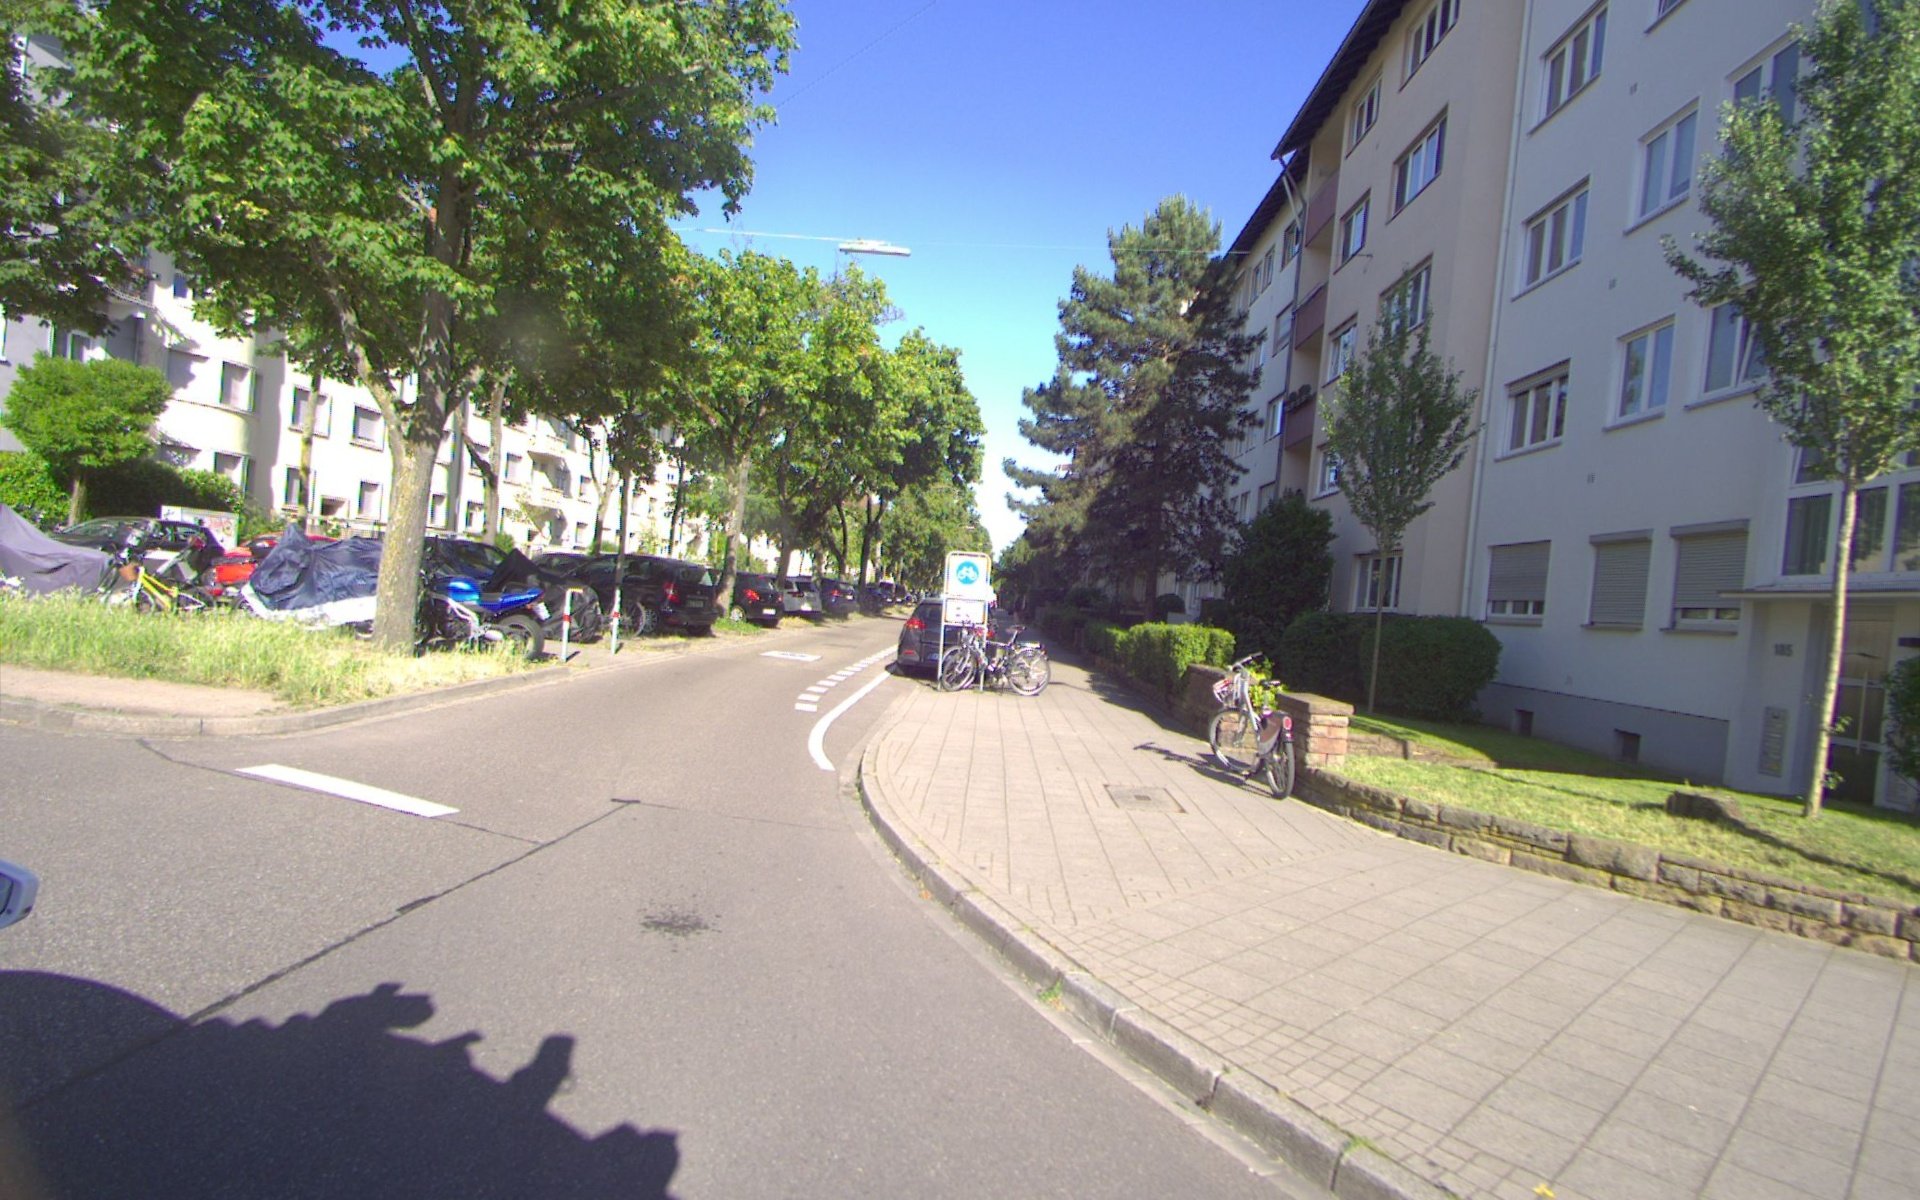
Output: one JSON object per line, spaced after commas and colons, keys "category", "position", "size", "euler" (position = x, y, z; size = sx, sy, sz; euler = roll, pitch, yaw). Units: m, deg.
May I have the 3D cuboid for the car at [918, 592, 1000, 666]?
{"category": "car", "position": [-0.056, 0.643, 25.186], "size": [1.752, 1.504, 3.997], "euler": [6, 1, -1]}

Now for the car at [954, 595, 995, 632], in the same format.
{"category": "car", "position": [0.662, 0.622, 48.787], "size": [1.752, 1.504, 3.997], "euler": [6, 1, -1]}

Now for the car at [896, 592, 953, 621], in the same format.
{"category": "car", "position": [-2.647, 0.491, 74.437], "size": [3.945, 1.746, 1.876], "euler": [6, 1, 42]}

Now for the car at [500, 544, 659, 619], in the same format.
{"category": "car", "position": [-10.244, -0.499, 27.050], "size": [3.930, 1.611, 1.704], "euler": [6, 1, 27]}

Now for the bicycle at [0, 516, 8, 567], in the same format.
{"category": "bicycle", "position": [-20.812, -1.279, 20.418], "size": [0.670, 1.073, 2.256], "euler": [5, 1, 4]}

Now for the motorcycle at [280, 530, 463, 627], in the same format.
{"category": "motorcycle", "position": [-9.290, -0.333, 15.954], "size": [2.200, 1.284, 1.051], "euler": [5, 1, 1]}

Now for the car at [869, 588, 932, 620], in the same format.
{"category": "car", "position": [-4.029, 0.264, 67.628], "size": [3.945, 1.746, 1.876], "euler": [6, 1, 42]}

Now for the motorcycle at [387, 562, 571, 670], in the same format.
{"category": "motorcycle", "position": [-5.956, 0.189, 12.531], "size": [1.811, 1.086, 0.814], "euler": [7, 1, 1]}

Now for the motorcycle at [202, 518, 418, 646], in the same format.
{"category": "motorcycle", "position": [-8.040, -0.221, 12.515], "size": [2.016, 1.345, 0.862], "euler": [5, 1, -2]}

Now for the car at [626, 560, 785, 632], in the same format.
{"category": "car", "position": [-7.170, -0.109, 28.307], "size": [3.929, 1.618, 1.877], "euler": [6, 0, 25]}

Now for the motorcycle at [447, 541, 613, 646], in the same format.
{"category": "motorcycle", "position": [-6.806, -0.102, 16.016], "size": [2.087, 1.410, 1.062], "euler": [5, 1, 0]}

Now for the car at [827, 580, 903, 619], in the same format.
{"category": "car", "position": [-5.266, -0.021, 55.271], "size": [3.945, 1.746, 1.876], "euler": [6, 1, 42]}

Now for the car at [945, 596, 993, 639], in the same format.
{"category": "car", "position": [0.316, 0.683, 41.638], "size": [1.752, 1.504, 3.997], "euler": [6, 1, -1]}

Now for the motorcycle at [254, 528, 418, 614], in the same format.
{"category": "motorcycle", "position": [-11.144, -0.505, 18.036], "size": [2.200, 1.284, 1.051], "euler": [5, 1, 1]}

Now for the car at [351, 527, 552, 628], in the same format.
{"category": "car", "position": [-10.415, -0.468, 20.571], "size": [3.811, 1.661, 1.799], "euler": [6, 1, 30]}

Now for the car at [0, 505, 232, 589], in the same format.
{"category": "car", "position": [-17.419, -1.019, 20.882], "size": [1.720, 1.464, 3.954], "euler": [4, 1, -1]}

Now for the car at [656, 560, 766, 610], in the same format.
{"category": "car", "position": [-10.055, -0.616, 40.593], "size": [3.930, 1.611, 1.883], "euler": [6, 1, 27]}

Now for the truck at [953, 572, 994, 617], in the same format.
{"category": "truck", "position": [0.865, -0.367, 69.180], "size": [2.367, 2.710, 5.903], "euler": [6, 1, -1]}

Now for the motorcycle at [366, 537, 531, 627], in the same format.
{"category": "motorcycle", "position": [-8.670, -0.294, 17.128], "size": [2.200, 1.284, 1.051], "euler": [5, 1, 1]}

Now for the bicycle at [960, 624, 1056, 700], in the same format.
{"category": "bicycle", "position": [0.734, 0.961, 15.657], "size": [1.422, 1.071, 0.330], "euler": [3, 2, 0]}

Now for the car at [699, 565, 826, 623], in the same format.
{"category": "car", "position": [-6.840, -0.207, 34.893], "size": [3.928, 1.569, 1.779], "euler": [6, 1, 24]}

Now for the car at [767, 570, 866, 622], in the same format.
{"category": "car", "position": [-5.960, -0.169, 41.571], "size": [3.945, 1.746, 1.876], "euler": [6, 1, 42]}

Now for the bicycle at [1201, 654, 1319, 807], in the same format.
{"category": "bicycle", "position": [2.557, 1.074, 8.728], "size": [0.377, 1.093, 1.623], "euler": [3, 1, -4]}

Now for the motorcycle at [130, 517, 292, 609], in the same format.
{"category": "motorcycle", "position": [-11.892, -0.575, 16.014], "size": [1.858, 1.253, 0.889], "euler": [5, 1, 1]}

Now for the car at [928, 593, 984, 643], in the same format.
{"category": "car", "position": [-0.160, 0.606, 36.266], "size": [1.752, 1.504, 3.997], "euler": [6, 1, -1]}

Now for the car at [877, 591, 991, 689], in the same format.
{"category": "car", "position": [-0.588, 0.671, 18.995], "size": [1.800, 1.429, 3.995], "euler": [6, 1, -4]}

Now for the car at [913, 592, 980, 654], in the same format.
{"category": "car", "position": [-0.418, 0.646, 30.996], "size": [1.753, 1.524, 3.997], "euler": [9, 1, -1]}

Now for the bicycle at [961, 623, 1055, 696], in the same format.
{"category": "bicycle", "position": [0.763, 0.950, 16.130], "size": [1.422, 1.071, 0.330], "euler": [3, 2, 0]}

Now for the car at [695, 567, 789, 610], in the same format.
{"category": "car", "position": [-10.314, -0.550, 47.532], "size": [3.930, 1.611, 1.883], "euler": [6, 1, 27]}

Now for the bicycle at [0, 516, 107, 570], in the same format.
{"category": "bicycle", "position": [-20.803, -1.282, 22.895], "size": [0.670, 1.073, 2.256], "euler": [5, 1, 4]}

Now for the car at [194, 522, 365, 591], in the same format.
{"category": "car", "position": [-17.376, -1.046, 25.942], "size": [1.721, 1.463, 3.852], "euler": [6, 1, -1]}

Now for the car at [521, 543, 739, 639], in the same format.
{"category": "car", "position": [-7.033, -0.183, 21.512], "size": [3.925, 1.618, 1.999], "euler": [6, 0, 20]}

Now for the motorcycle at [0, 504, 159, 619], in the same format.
{"category": "motorcycle", "position": [-12.020, -0.550, 12.732], "size": [2.733, 1.284, 1.126], "euler": [5, 1, -4]}

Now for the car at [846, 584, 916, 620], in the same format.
{"category": "car", "position": [-4.756, 0.099, 60.546], "size": [3.945, 1.746, 1.876], "euler": [6, 1, 42]}
